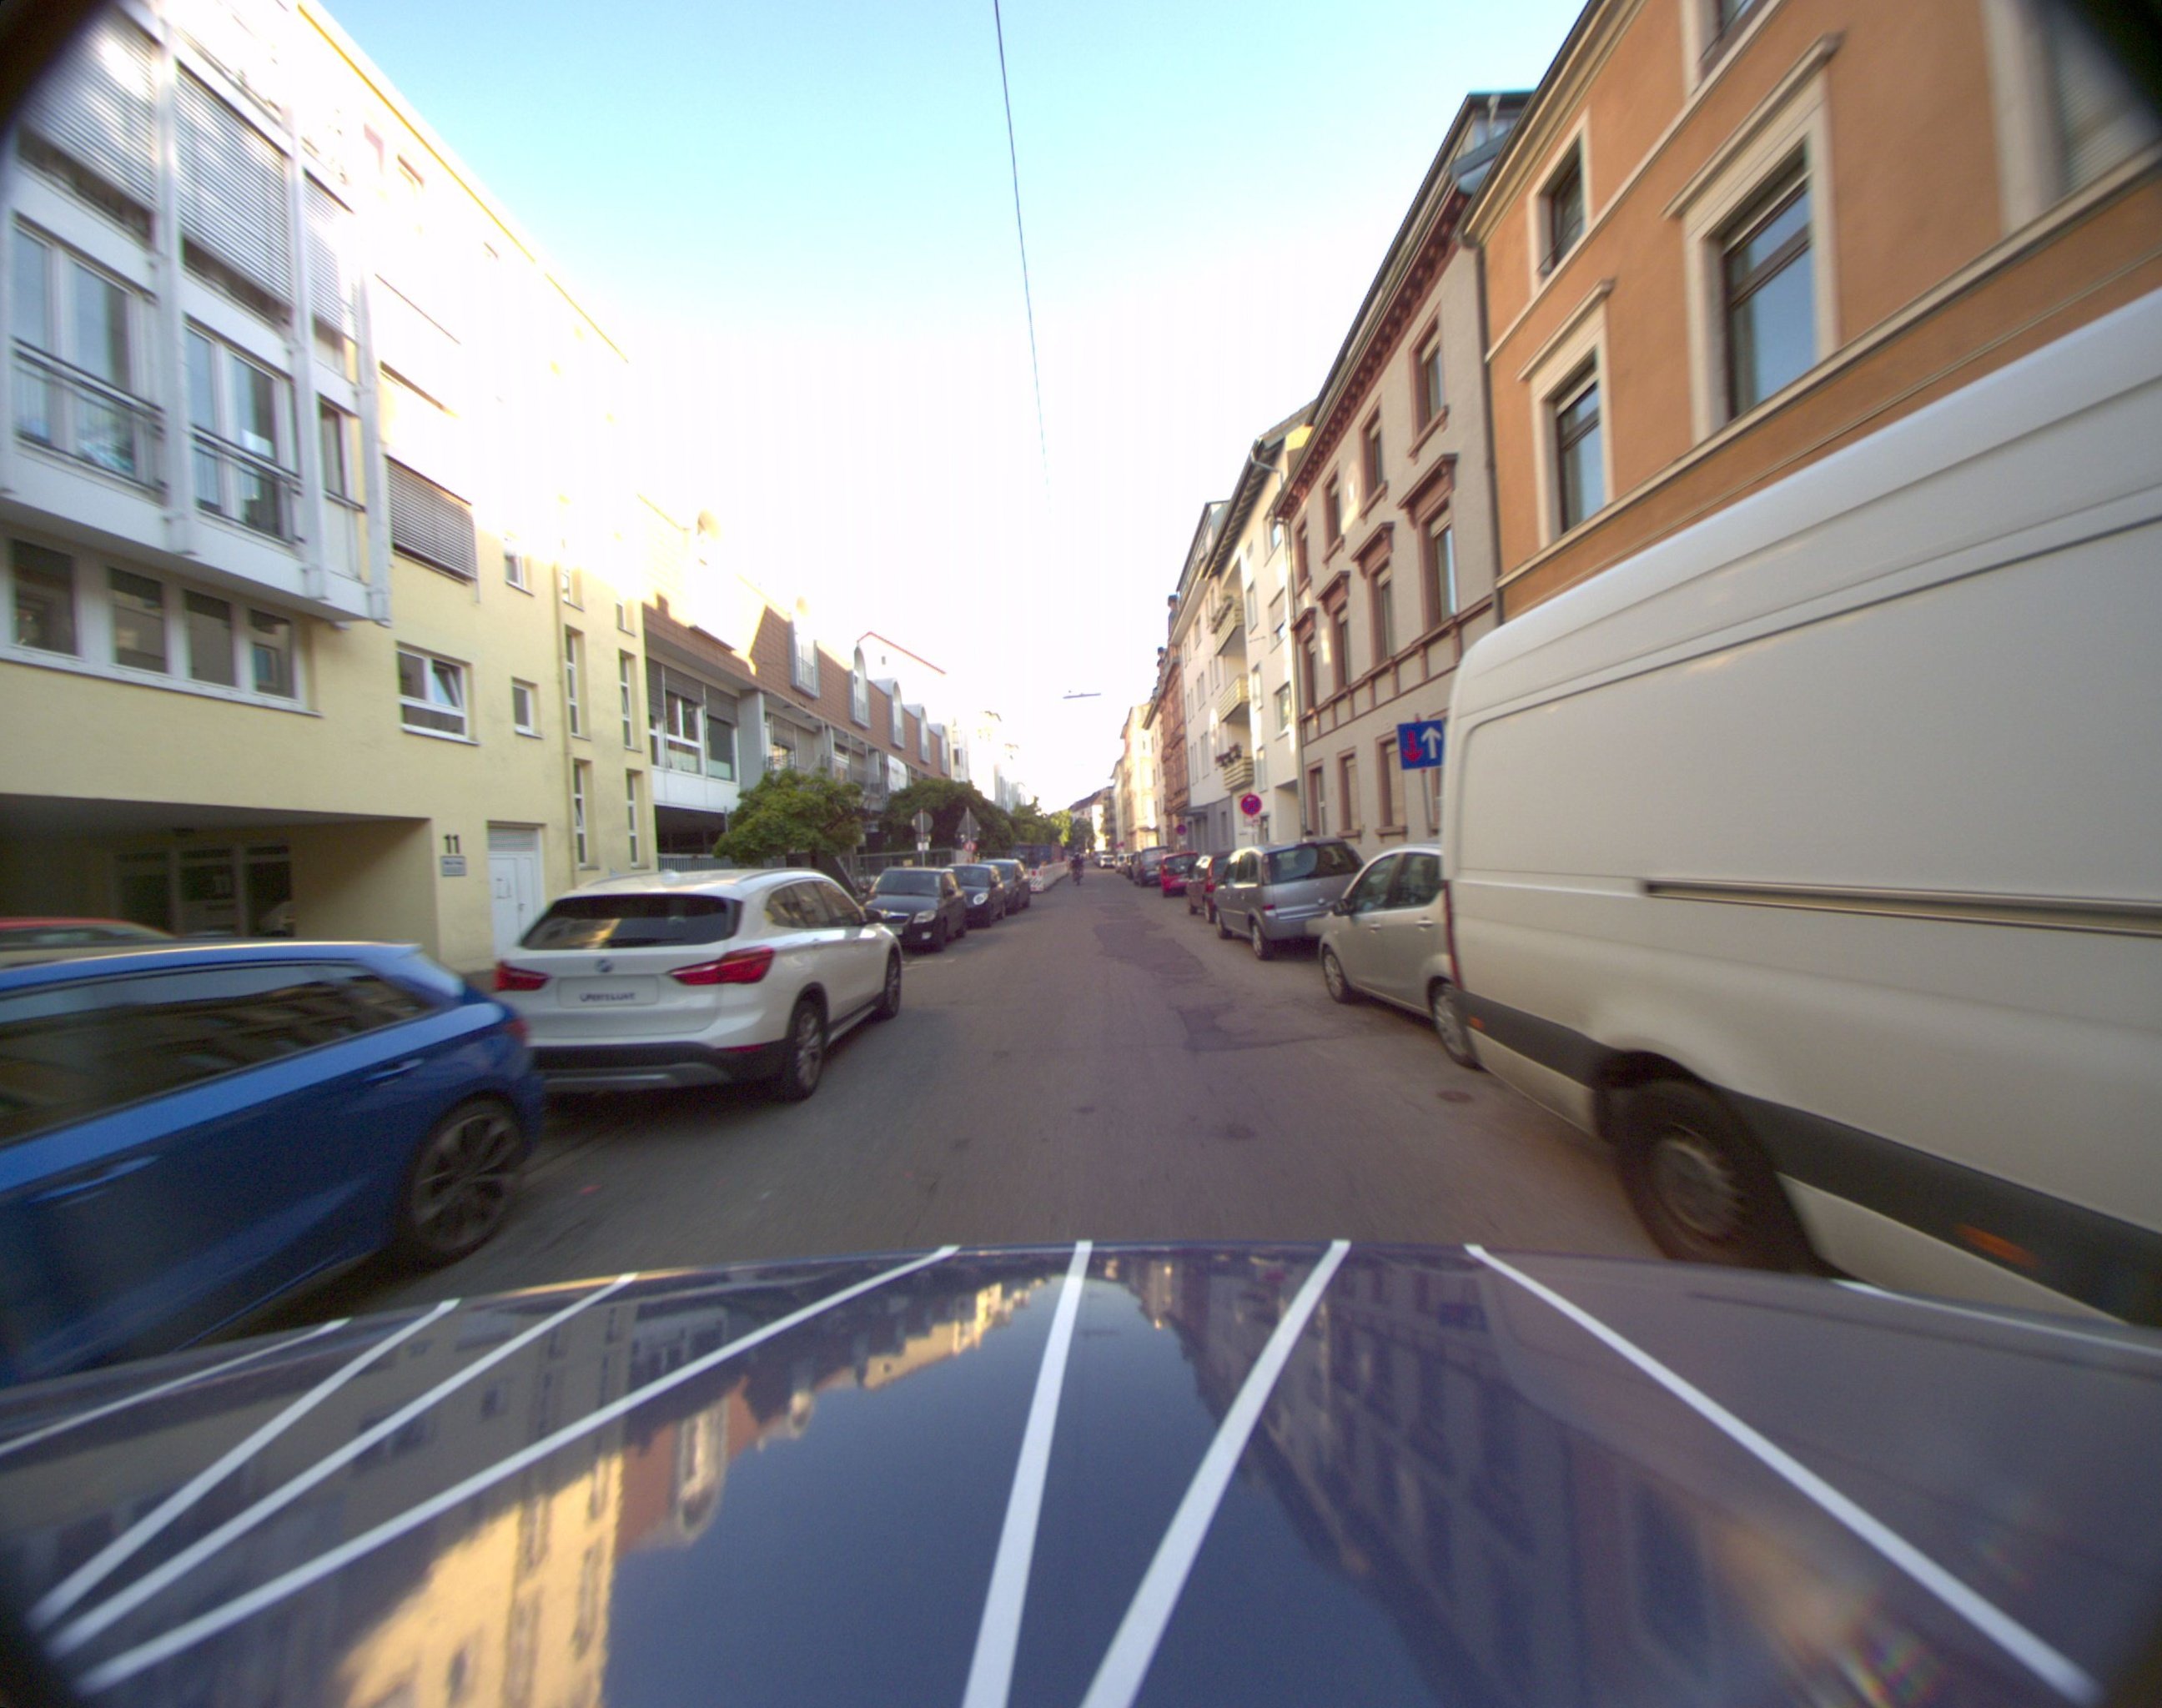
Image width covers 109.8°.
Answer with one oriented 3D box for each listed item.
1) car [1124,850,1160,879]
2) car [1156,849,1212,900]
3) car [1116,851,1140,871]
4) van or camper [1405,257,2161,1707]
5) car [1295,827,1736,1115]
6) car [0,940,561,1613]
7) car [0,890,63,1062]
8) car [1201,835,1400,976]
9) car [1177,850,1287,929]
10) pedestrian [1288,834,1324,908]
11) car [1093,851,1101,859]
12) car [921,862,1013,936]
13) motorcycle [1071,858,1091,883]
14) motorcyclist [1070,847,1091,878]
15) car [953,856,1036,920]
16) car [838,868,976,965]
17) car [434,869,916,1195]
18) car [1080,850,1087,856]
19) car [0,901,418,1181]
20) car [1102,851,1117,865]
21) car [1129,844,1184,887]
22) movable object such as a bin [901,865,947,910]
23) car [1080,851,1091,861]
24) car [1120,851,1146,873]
[{"bbox_3d":[3.636,0.606,46.062,1.744,1.590,4.014,-4,0,0],"label":"car"},{"bbox_3d":[3.638,0.671,27.394,1.672,1.477,3.607,-8,0,5],"label":"car"},{"bbox_3d":[3.804,0.558,61.965,1.636,1.421,3.554,-4,0,-1],"label":"car"},{"bbox_3d":[2.904,0.252,0.661,1.954,2.634,7.139,-2,0,-2],"label":"van or camper"},{"bbox_3d":[3.205,0.723,6.526,1.594,1.676,3.652,-4,0,0],"label":"car"},{"bbox_3d":[-3.466,1.154,1.662,1.727,1.380,4.294,-2,0,-1],"label":"car"},{"bbox_3d":[-12.521,1.302,6.690,4.119,1.650,1.999,-3,1,-3],"label":"car"},{"bbox_3d":[3.121,0.655,11.704,1.715,1.634,3.979,-6,0,-1],"label":"car"},{"bbox_3d":[3.304,0.728,17.254,1.661,1.440,3.285,-7,0,-1],"label":"car"},{"bbox_3d":[5.130,0.374,17.329,0.496,1.629,0.665,-5,1,0],"label":"pedestrian"},{"bbox_3d":[3.915,0.183,185.665,1.998,1.783,4.000,-4,0,1],"label":"car"},{"bbox_3d":[-2.794,1.055,19.323,1.626,1.548,3.694,-4,0,1],"label":"car"},{"bbox_3d":[0.007,0.900,40.449,0.806,1.242,1.699,-5,-1,6],"label":"motorcycle"},{"bbox_3d":[-0.025,0.479,40.448,0.873,1.558,1.000,-5,-1,6],"label":"motorcyclist"},{"bbox_3d":[-2.578,0.967,23.746,1.753,1.673,4.526,-4,0,3],"label":"car"},{"bbox_3d":[-3.173,1.079,14.678,1.624,1.477,4.124,-1,0,1],"label":"car"},{"bbox_3d":[-2.761,1.037,6.557,1.727,1.602,4.587,-4,1,-2],"label":"car"},{"bbox_3d":[0.758,-0.302,215.715,1.998,1.783,4.000,-4,0,1],"label":"car"},{"bbox_3d":[-7.754,1.364,5.711,3.905,1.598,1.694,-5,1,-1],"label":"car"},{"bbox_3d":[3.237,0.425,85.608,1.688,1.487,3.844,0,1,2],"label":"car"},{"bbox_3d":[3.582,0.516,36.767,1.999,1.848,4.584,-4,0,-1],"label":"car"},{"bbox_3d":[-5.244,1.112,25.386,1.256,1.368,0.800,-5,1,-25],"label":"movable object such as a bin"},{"bbox_3d":[0.862,0.331,145.537,1.998,1.783,4.000,-4,0,1],"label":"car"},{"bbox_3d":[3.848,0.585,56.138,1.559,1.500,3.597,-4,0,0],"label":"car"}]
